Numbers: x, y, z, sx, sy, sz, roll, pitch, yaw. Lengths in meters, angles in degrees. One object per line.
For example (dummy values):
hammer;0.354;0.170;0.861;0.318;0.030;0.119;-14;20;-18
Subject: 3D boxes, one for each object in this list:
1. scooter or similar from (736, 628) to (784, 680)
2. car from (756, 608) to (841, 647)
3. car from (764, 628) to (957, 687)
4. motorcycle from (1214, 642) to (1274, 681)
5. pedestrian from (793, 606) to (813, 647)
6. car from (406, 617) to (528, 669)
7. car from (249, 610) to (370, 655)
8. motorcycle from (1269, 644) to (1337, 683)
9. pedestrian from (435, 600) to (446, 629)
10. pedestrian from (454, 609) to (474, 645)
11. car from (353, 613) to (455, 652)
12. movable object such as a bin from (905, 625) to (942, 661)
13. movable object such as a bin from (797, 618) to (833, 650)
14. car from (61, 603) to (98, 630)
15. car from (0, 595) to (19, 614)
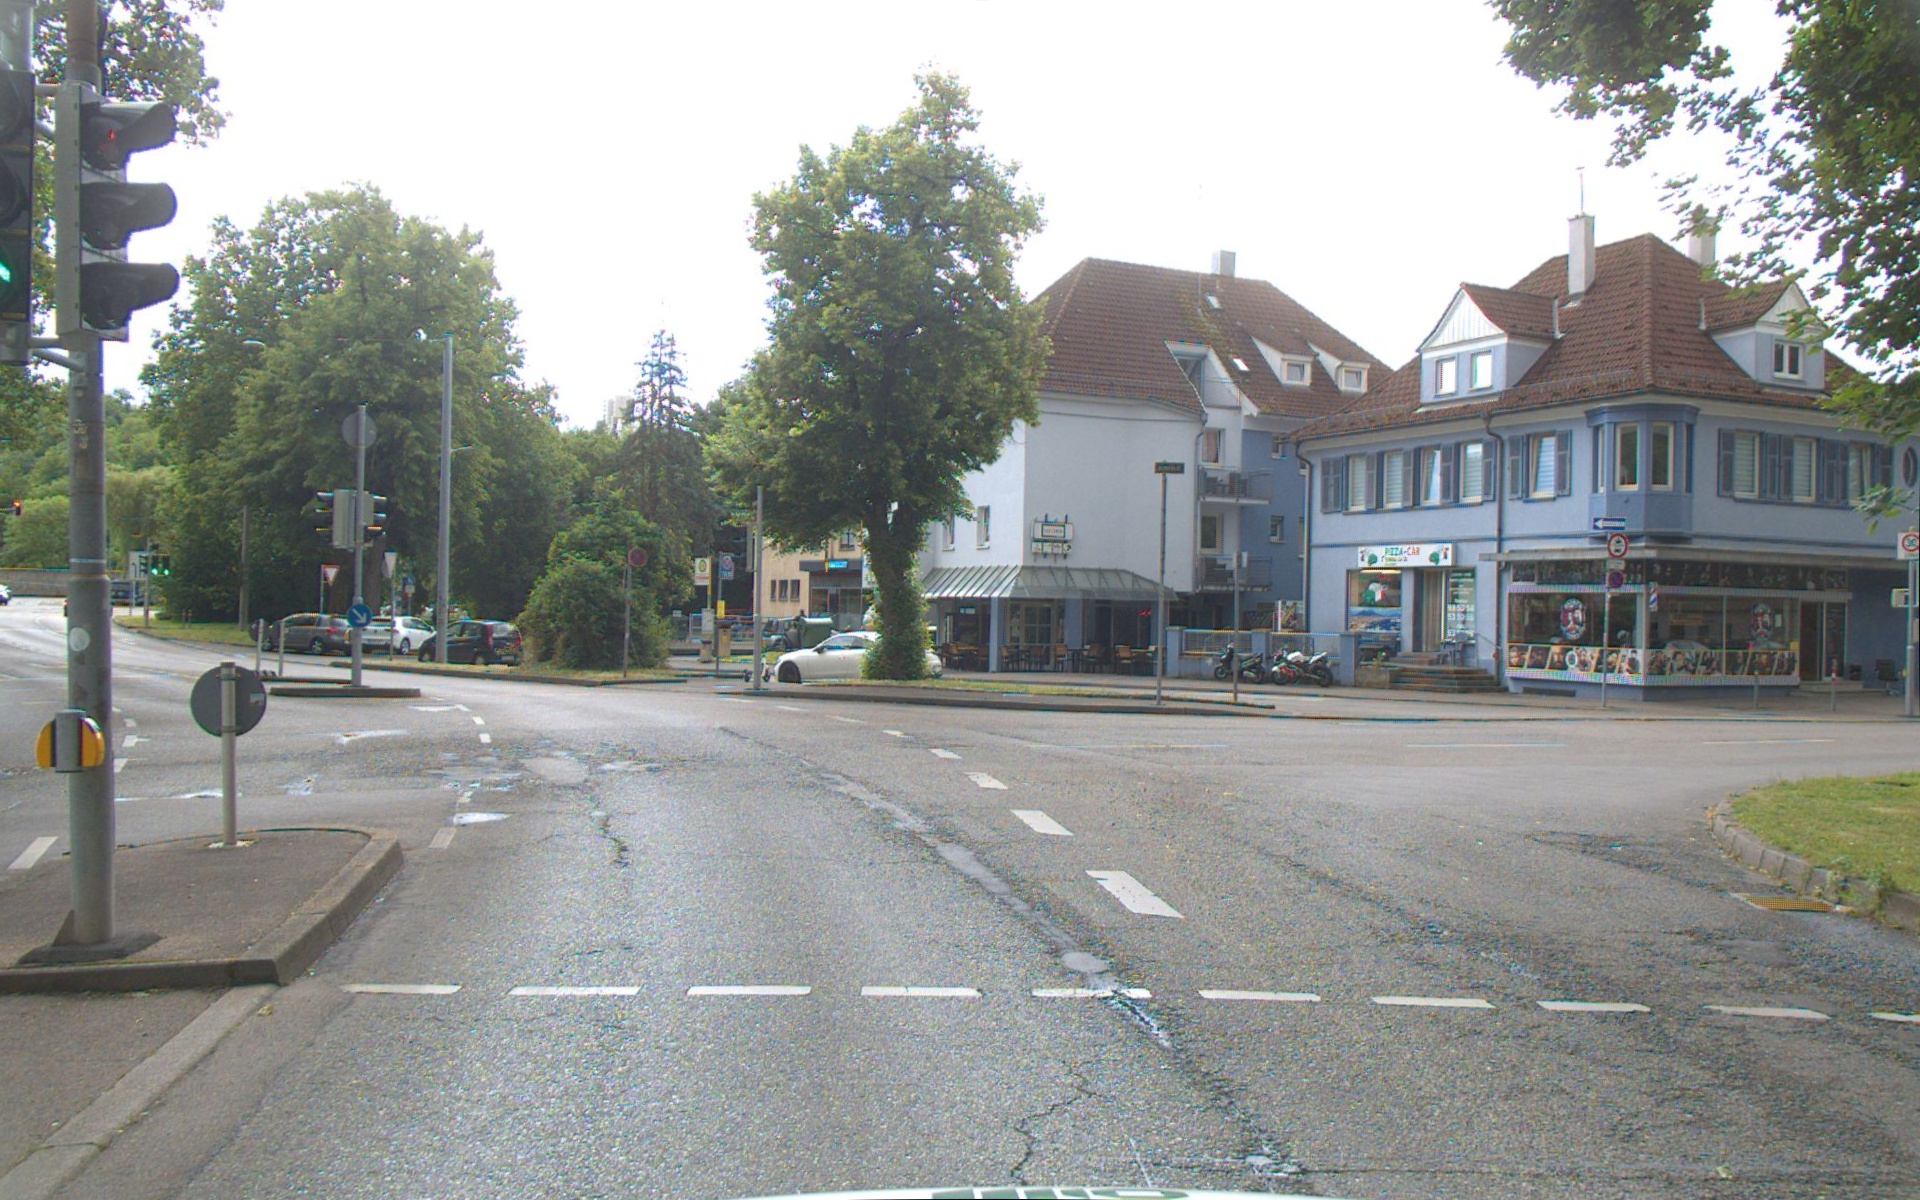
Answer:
scooter or similar;-4.709;1.283;39.057;0.403;1.187;1.361;0;-3;26
car;-7.043;1.187;72.178;3.369;1.659;1.612;1;-1;-25
car;-2.542;1.415;41.914;4.691;1.411;1.993;0;-1;35
motorcycle;7.947;1.721;46.337;1.695;1.049;0.486;0;-1;44
pedestrian;-6.761;1.134;71.138;0.680;1.760;0.605;1;-1;-31
car;-14.882;1.287;49.915;3.417;1.429;1.570;1;0;29
car;-23.797;1.170;60.526;4.016;1.454;1.733;2;0;23
motorcycle;9.229;1.698;44.535;1.792;1.003;0.518;0;-1;44
pedestrian;-28.539;0.791;90.890;0.503;1.558;0.773;2;-1;-22
pedestrian;-22.479;1.219;74.945;0.676;1.578;0.735;1;0;-31
car;-21.285;1.245;63.476;1.721;1.405;4.265;1;-1;13
movable object such as a bin;-1.474;1.735;66.806;1.197;1.420;1.154;1;-1;-21
movable object such as a bin;-6.157;1.438;70.170;1.204;1.368;0.985;1;-1;-31
car;-51.758;0.975;97.190;1.803;1.536;4.528;1;-1;-30
car;-80.629;0.319;138.417;3.010;1.259;1.432;3;12;-21
